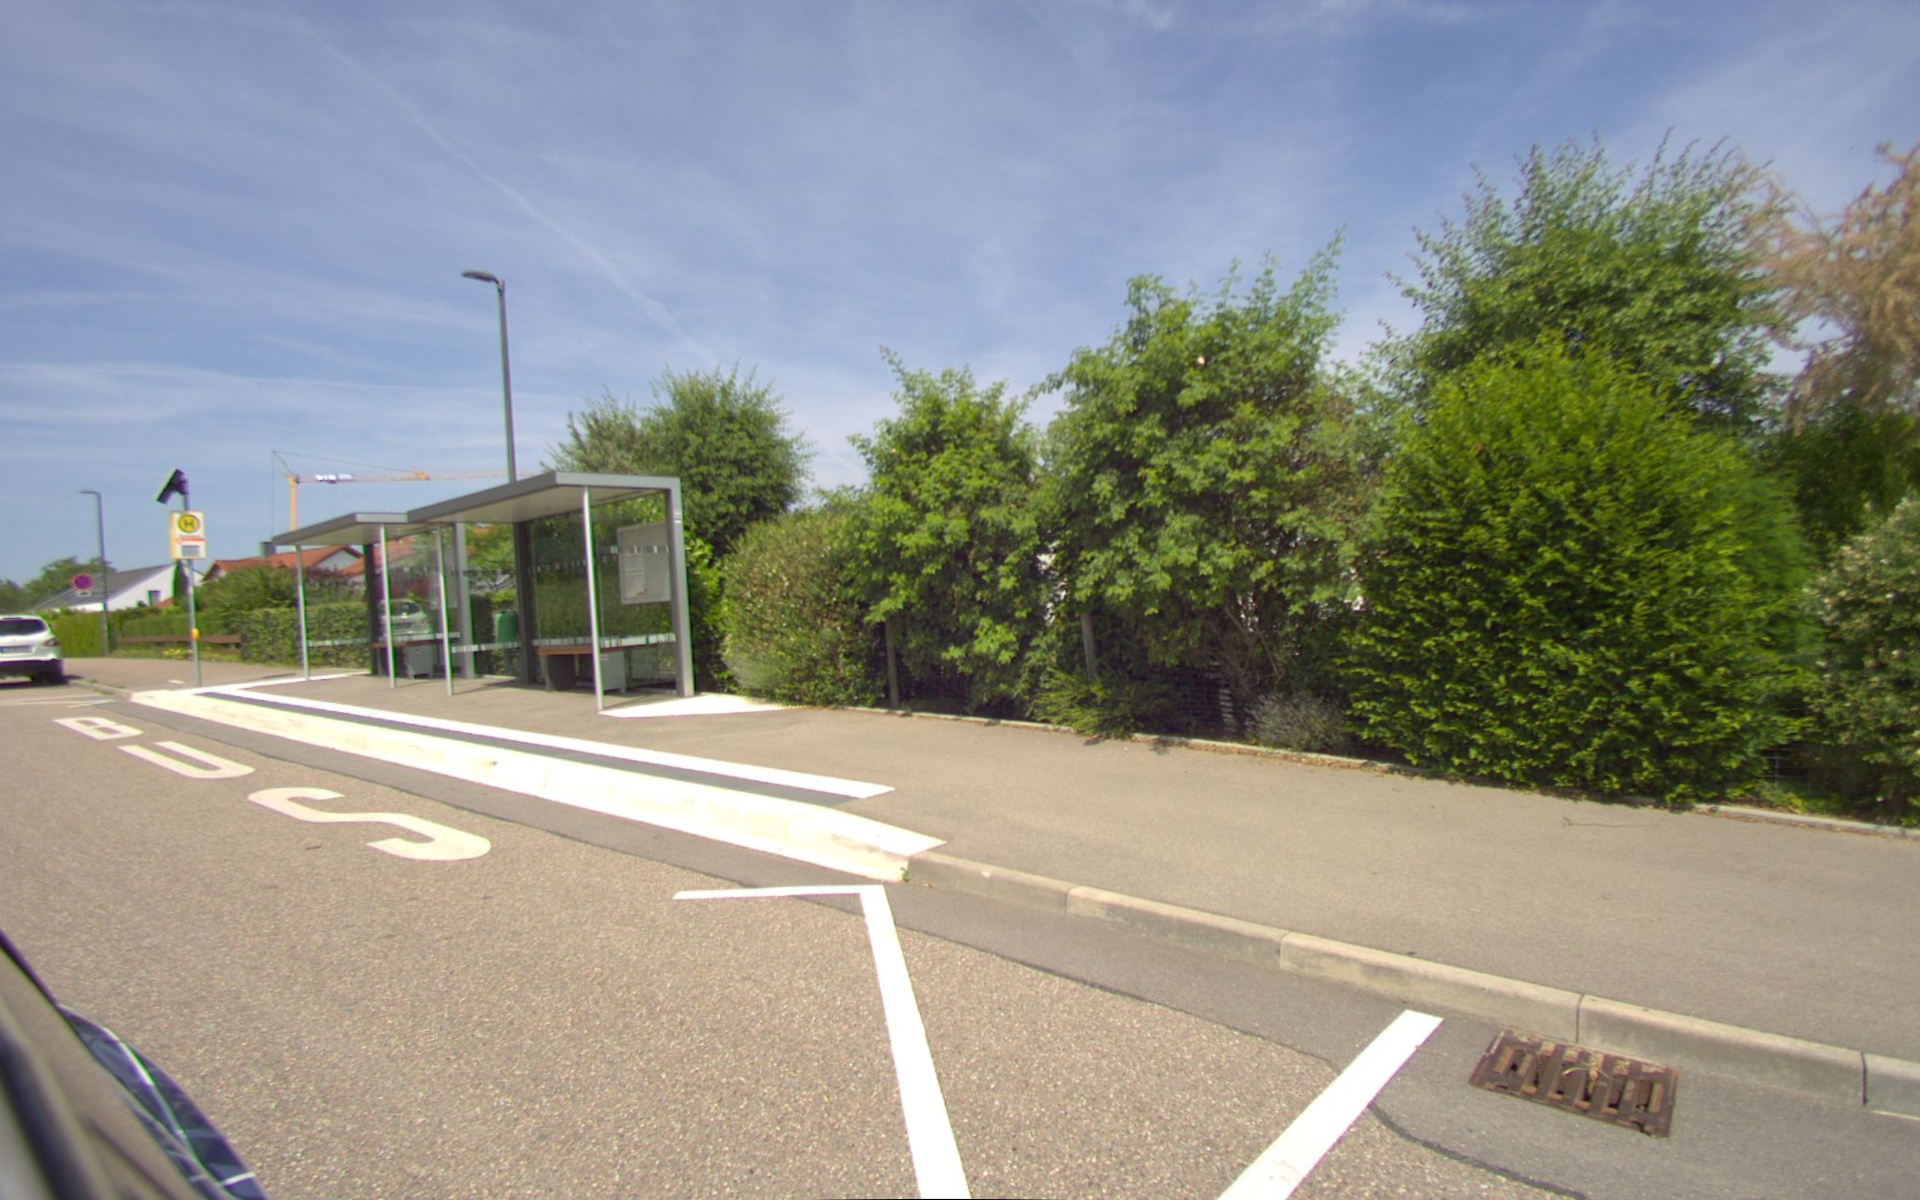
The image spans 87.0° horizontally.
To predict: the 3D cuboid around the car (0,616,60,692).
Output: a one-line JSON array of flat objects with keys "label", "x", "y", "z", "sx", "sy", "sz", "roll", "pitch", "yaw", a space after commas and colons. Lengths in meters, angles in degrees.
[{"label": "car", "x": -22.592, "y": 1.254, "z": 23.682, "sx": 4.349, "sy": 1.645, "sz": 1.716, "roll": -2, "pitch": 0, "yaw": 41}]
